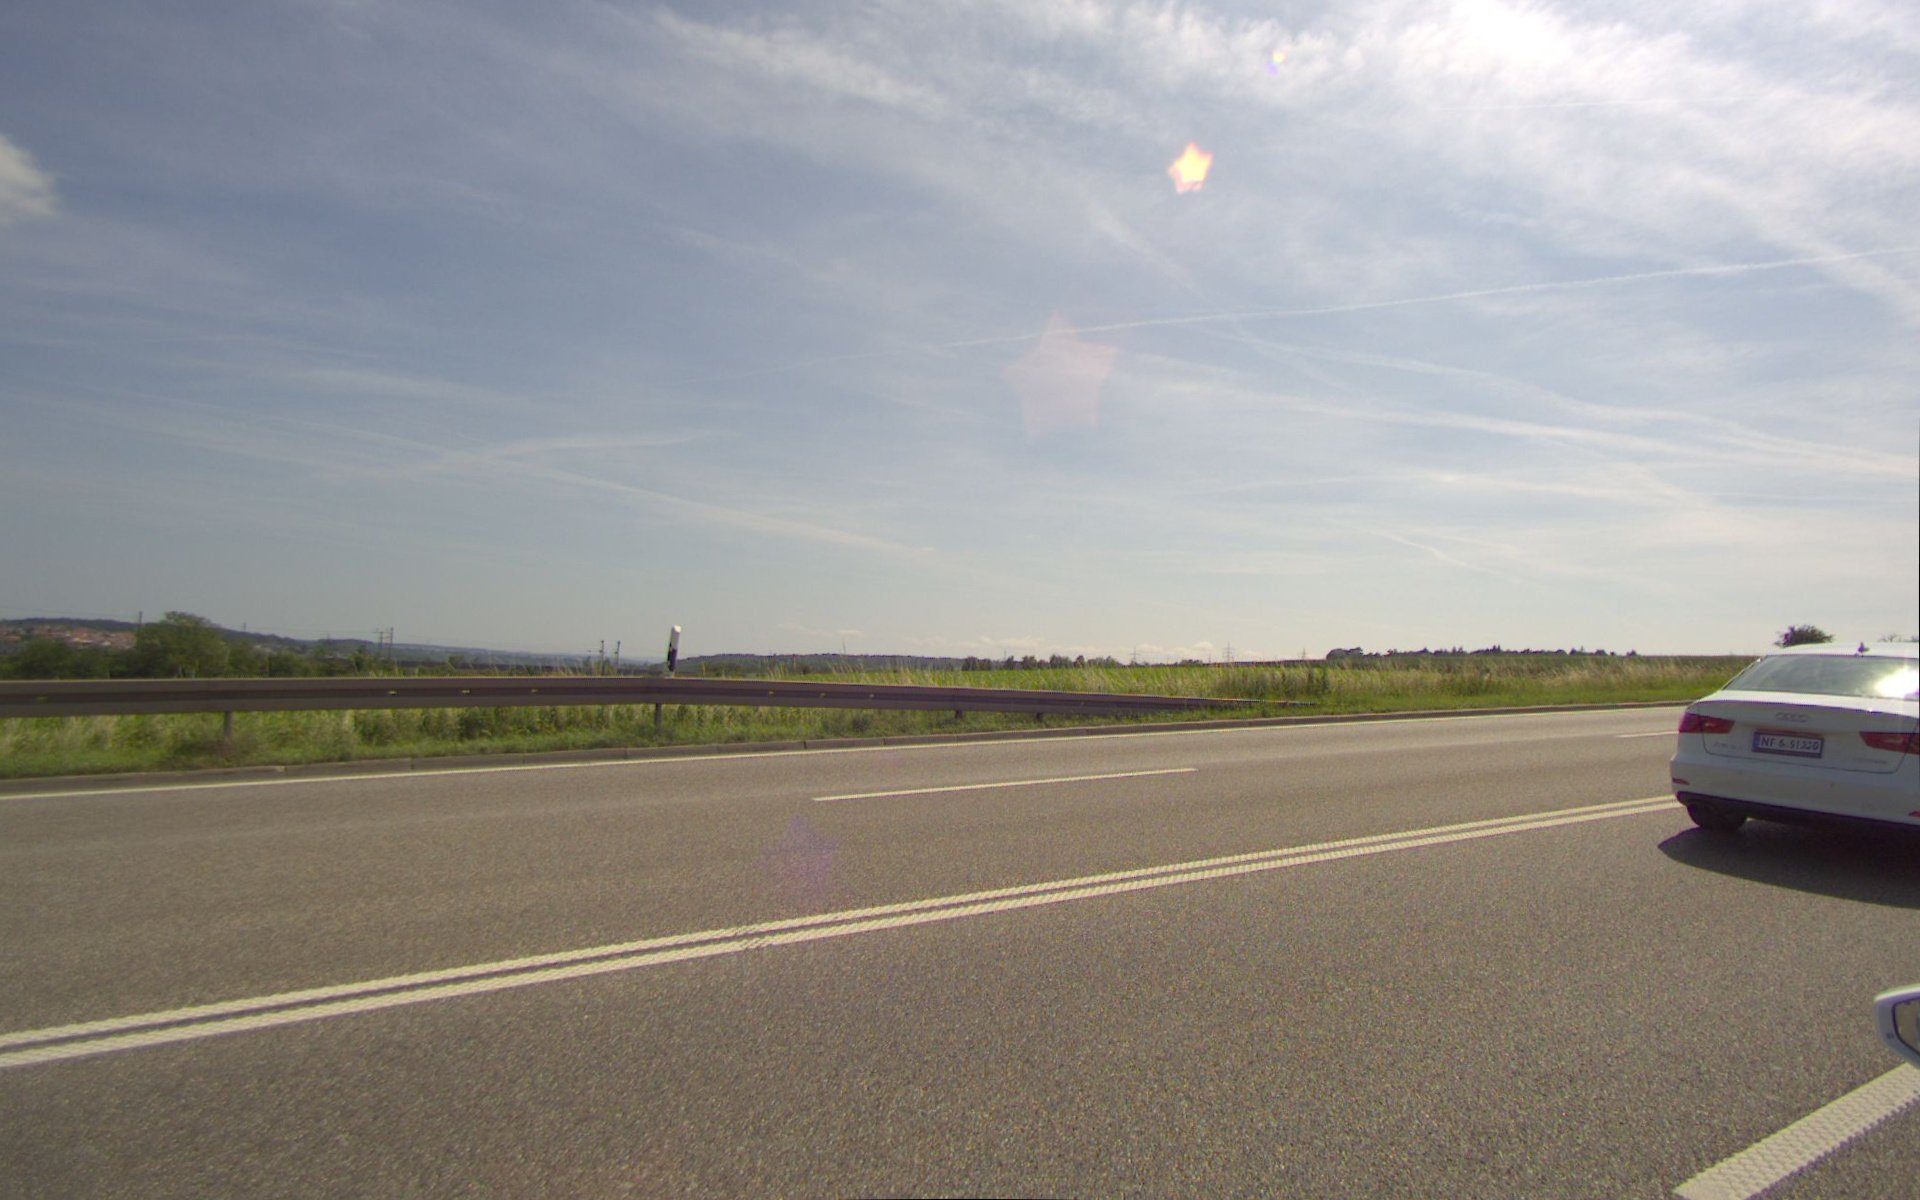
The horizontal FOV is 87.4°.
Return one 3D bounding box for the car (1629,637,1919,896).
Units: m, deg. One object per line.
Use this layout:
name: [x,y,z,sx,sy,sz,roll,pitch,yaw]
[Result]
car: [6.999,1.004,7.312,4.548,1.394,1.695,1,-1,-30]
